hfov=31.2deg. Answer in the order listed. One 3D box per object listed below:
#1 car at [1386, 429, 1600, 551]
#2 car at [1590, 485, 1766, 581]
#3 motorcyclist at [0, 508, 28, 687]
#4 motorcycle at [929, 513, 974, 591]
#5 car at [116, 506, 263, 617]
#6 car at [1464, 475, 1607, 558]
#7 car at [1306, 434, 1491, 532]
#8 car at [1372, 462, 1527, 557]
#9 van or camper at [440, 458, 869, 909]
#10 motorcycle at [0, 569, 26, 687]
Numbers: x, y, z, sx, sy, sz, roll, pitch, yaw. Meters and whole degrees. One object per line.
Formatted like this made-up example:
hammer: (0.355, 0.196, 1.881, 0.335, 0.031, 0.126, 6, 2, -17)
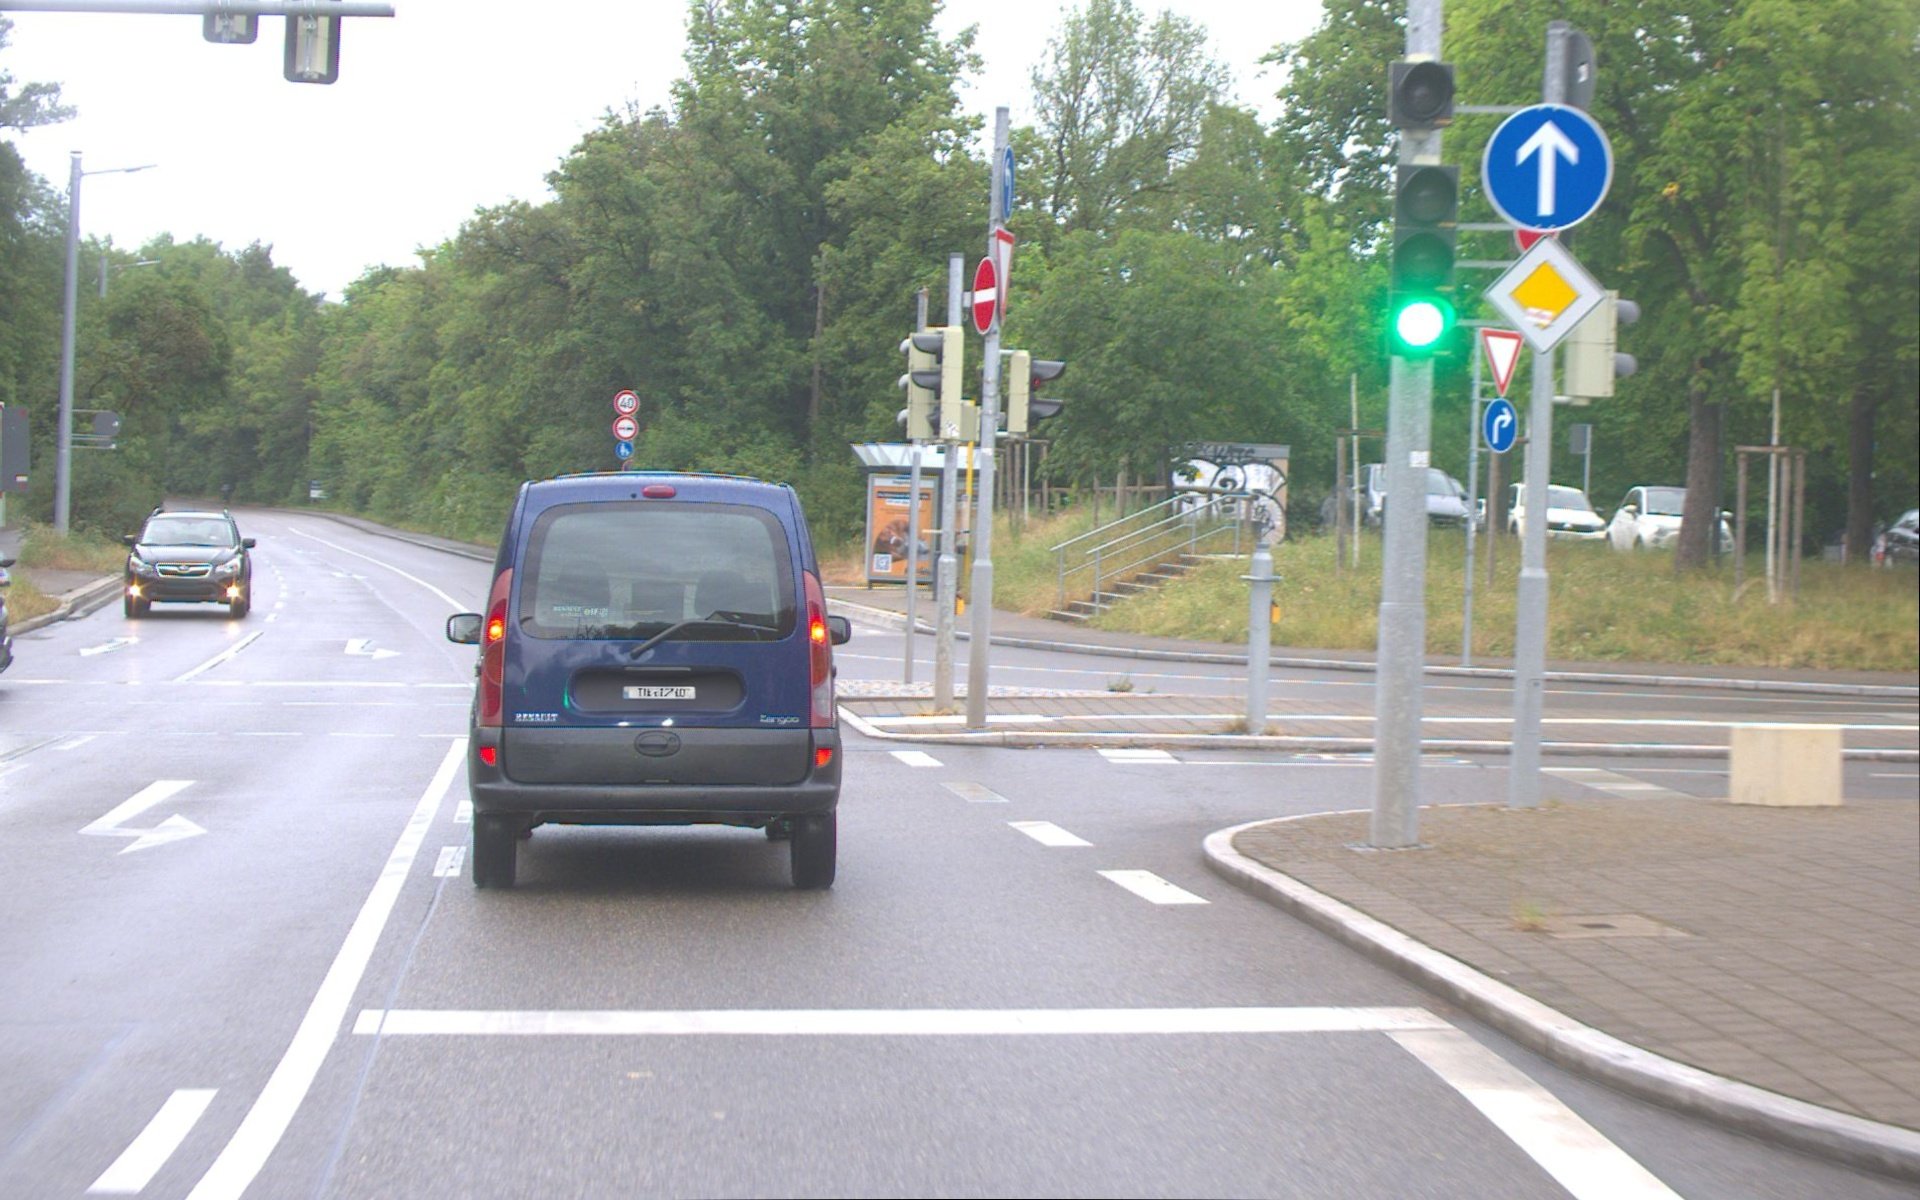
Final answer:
car: (8.182, -1.712, 53.125, 1.993, 1.656, 4.001, 5, 2, -9)
car: (12.408, -1.153, 59.672, 1.885, 1.475, 4.069, 4, 0, -3)
motorcyclist: (-9.073, -0.042, 31.697, 0.745, 1.626, 0.927, 1, 1, -5)
motorcycle: (-0.143, -0.822, 58.261, 0.589, 1.284, 1.537, 2, 1, 5)
car: (-11.724, -0.617, 52.537, 1.788, 1.576, 4.563, 1, 1, -8)
car: (11.722, -1.682, 70.297, 1.885, 1.475, 4.069, 6, 0, -3)
car: (7.444, -1.972, 58.799, 1.993, 1.475, 4.286, 4, 0, -8)
car: (9.646, -1.805, 68.102, 1.993, 1.656, 4.473, 5, 1, -5)
van or camper: (-1.421, 0.307, 16.454, 1.712, 1.819, 4.001, 3, 1, -4)
motorcycle: (-9.067, 0.256, 31.564, 0.594, 1.047, 1.999, 1, 1, -5)
